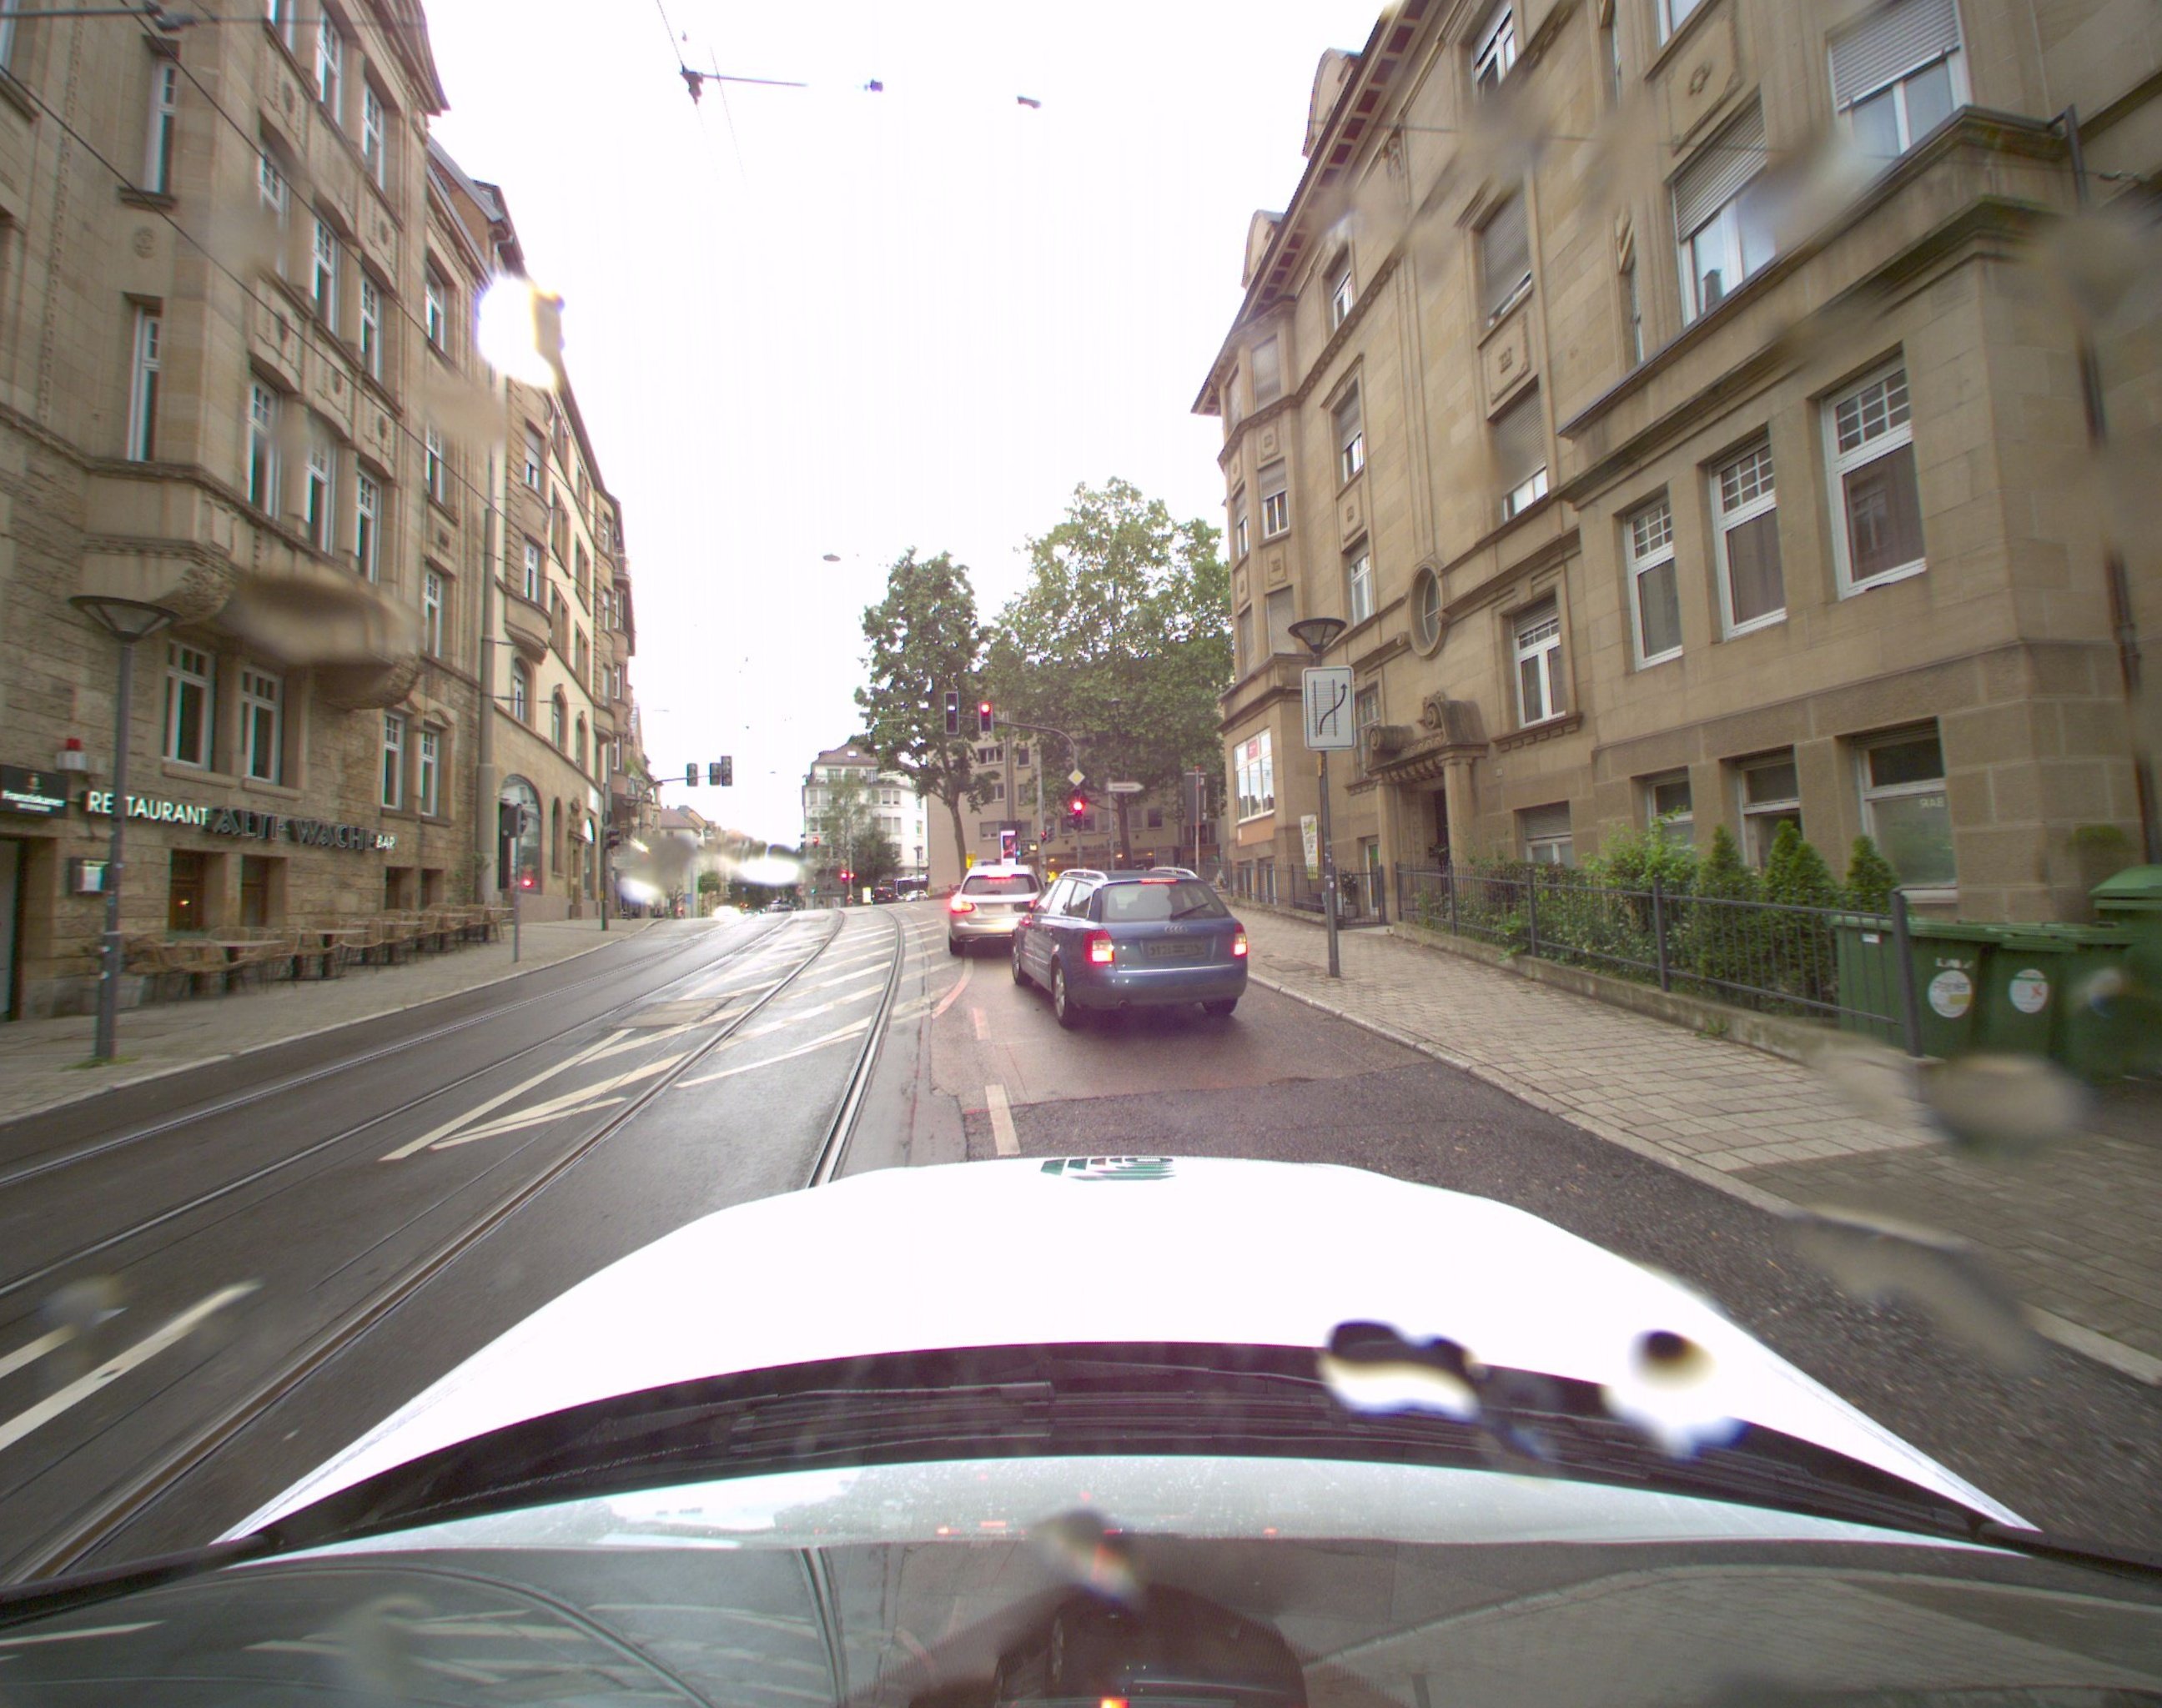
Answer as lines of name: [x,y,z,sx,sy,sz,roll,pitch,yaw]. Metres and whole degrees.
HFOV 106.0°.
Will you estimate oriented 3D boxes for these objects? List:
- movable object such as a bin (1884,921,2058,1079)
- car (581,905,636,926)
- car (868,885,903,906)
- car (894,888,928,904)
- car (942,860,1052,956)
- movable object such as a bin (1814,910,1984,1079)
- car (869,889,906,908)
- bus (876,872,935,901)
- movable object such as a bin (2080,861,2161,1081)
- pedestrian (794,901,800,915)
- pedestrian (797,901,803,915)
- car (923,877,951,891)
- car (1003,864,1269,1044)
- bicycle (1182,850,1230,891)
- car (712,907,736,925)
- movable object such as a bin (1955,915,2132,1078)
movable object such as a bin: [6.007,0.959,5.521,0.537,0.968,0.602,2,-2,-10]
car: [-41.716,5.452,71.954,4.008,1.510,1.785,-2,0,-26]
car: [-16.718,3.509,69.832,1.788,1.510,4.000,-5,0,1]
car: [-18.802,4.619,90.454,1.779,1.510,4.020,-3,0,20]
car: [-1.483,0.855,14.608,1.708,1.456,3.546,-1,0,-5]
movable object such as a bin: [5.432,0.905,5.434,0.537,1.026,0.602,2,-2,-10]
car: [-20.385,4.684,85.975,1.779,1.614,4.020,-3,0,20]
bus: [-20.712,3.816,96.707,2.832,2.861,8.771,-3,0,16]
movable object such as a bin: [7.575,0.776,5.153,0.971,1.432,1.275,2,-2,-10]
pedestrian: [-34.852,6.638,99.996,0.650,1.661,0.646,-1,-1,-19]
pedestrian: [-33.478,6.470,97.134,0.650,1.661,0.646,-1,-1,-19]
car: [-18.450,3.857,104.516,1.779,1.510,4.020,-3,0,20]
car: [0.313,0.853,8.863,1.713,1.415,4.016,-1,0,-14]
bicycle: [3.891,0.509,25.317,1.300,1.173,0.524,-4,0,-11]
car: [-36.042,6.231,82.116,1.805,1.510,4.623,-2,0,-28]
movable object such as a bin: [6.640,0.960,5.644,0.537,1.026,0.602,2,-2,-10]
